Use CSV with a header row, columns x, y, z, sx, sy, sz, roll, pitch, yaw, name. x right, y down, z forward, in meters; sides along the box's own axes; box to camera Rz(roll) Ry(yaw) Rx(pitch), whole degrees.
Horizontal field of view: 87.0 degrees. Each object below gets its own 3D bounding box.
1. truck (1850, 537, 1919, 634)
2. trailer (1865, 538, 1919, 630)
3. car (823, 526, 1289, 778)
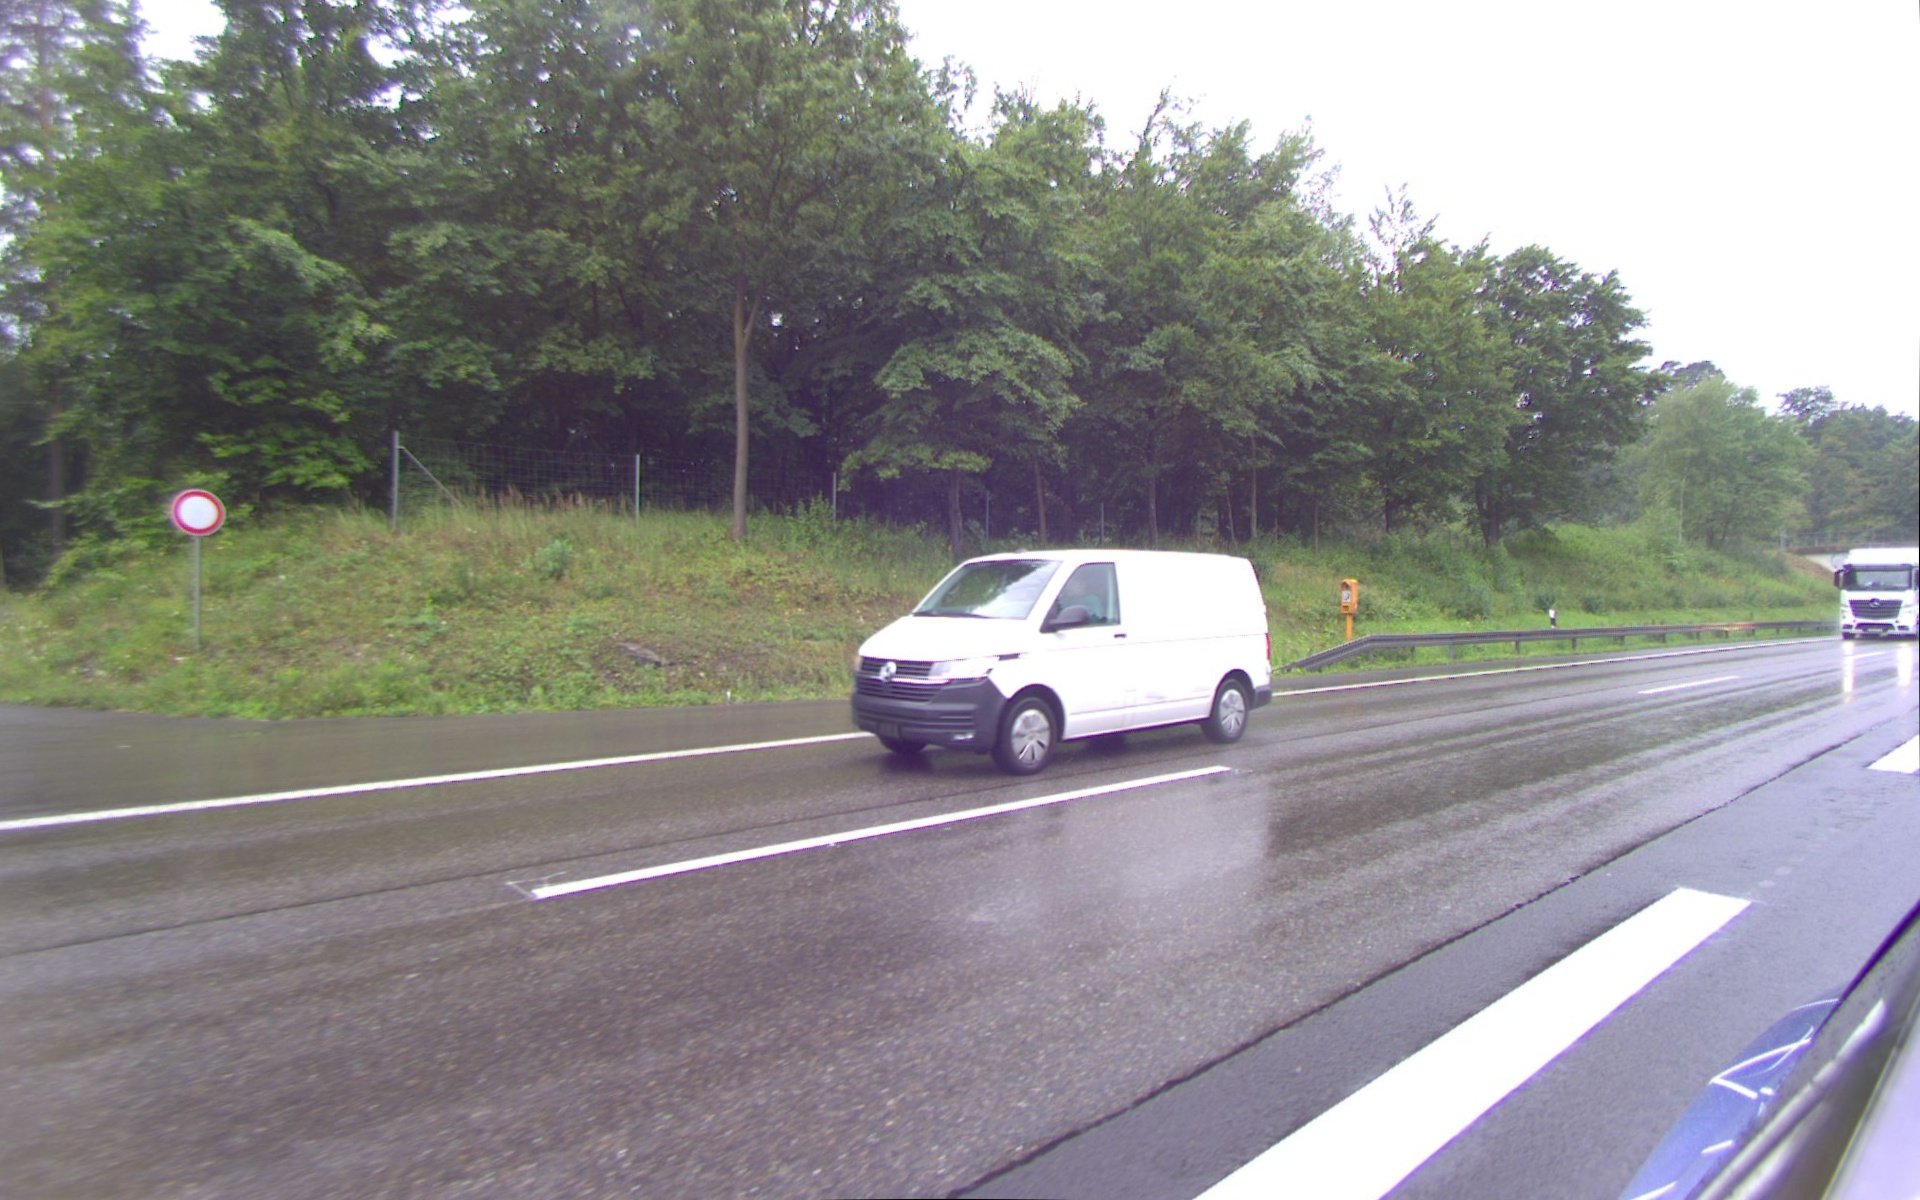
x,y,z,sx,sy,sz,roll,pitch,yaw,name
41.990,-0.610,44.973,5.904,4.065,2.607,0,-1,-39,truck
46.974,-0.733,49.179,13.470,4.064,2.559,0,0,-40,trailer
1.143,0.402,10.107,4.684,1.945,1.993,0,0,-41,car
